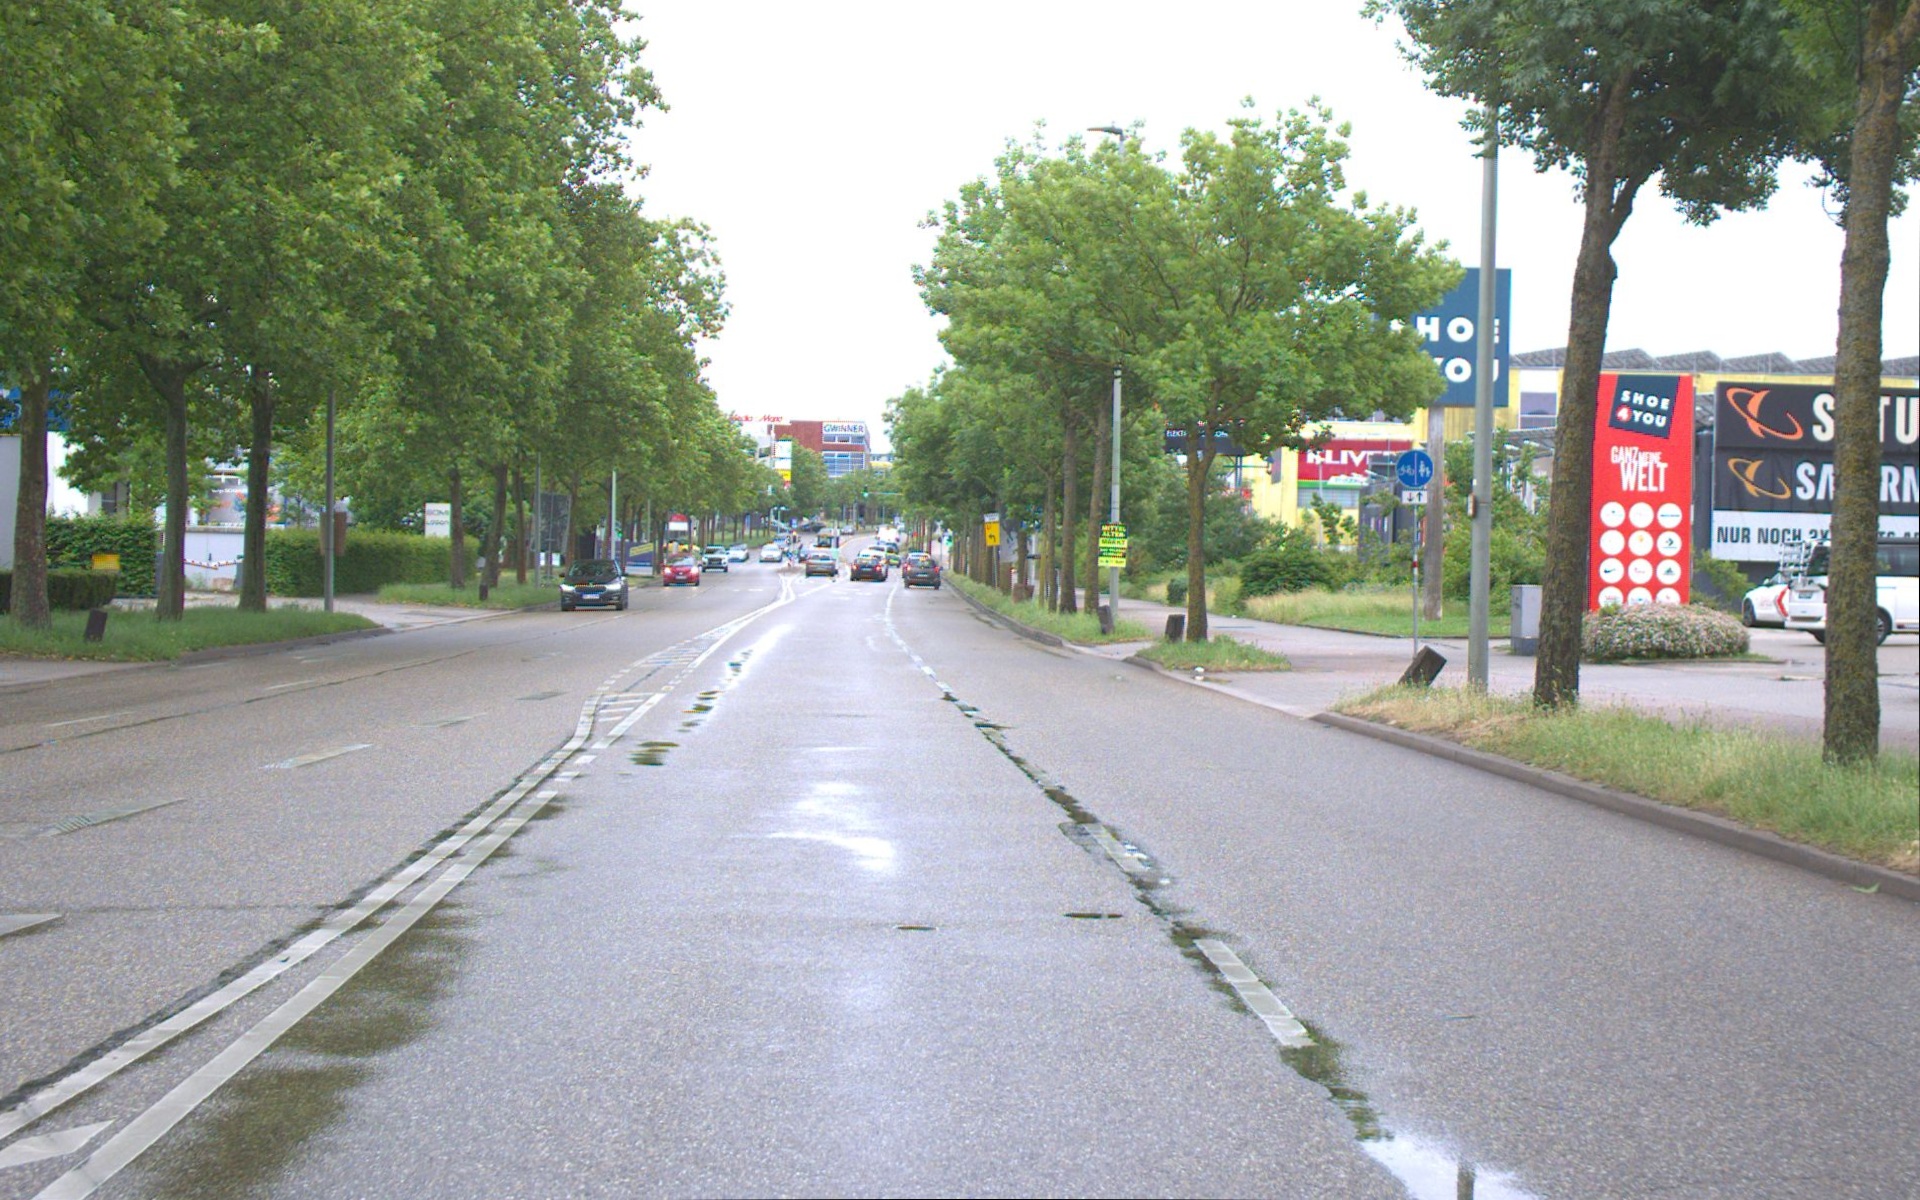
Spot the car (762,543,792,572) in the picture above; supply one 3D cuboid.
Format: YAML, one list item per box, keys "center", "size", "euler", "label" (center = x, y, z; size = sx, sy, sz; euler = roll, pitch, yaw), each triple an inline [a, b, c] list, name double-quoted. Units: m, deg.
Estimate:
- center: [-12.808, -2.973, 241.121]
  size: [1.993, 2.007, 4.000]
  euler: [1, 1, -2]
  label: "car"

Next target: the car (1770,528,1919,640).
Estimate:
- center: [17.601, -0.282, 63.307]
  size: [4.820, 2.007, 1.991]
  euler: [0, 0, -10]
  label: "car"

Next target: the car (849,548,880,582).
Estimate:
- center: [-5.691, -2.106, 205.455]
  size: [1.745, 2.007, 4.000]
  euler: [-1, 1, 0]
  label: "car"

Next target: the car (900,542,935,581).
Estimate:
- center: [-2.208, -2.008, 178.994]
  size: [1.745, 2.007, 4.000]
  euler: [1, 1, 0]
  label: "car"

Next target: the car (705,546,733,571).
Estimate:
- center: [-17.342, -2.985, 247.548]
  size: [1.704, 1.731, 4.000]
  euler: [1, 1, 1]
  label: "car"

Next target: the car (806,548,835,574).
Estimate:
- center: [-9.248, -2.612, 228.177]
  size: [1.745, 1.695, 4.000]
  euler: [1, 1, 0]
  label: "car"

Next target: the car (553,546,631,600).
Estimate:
- center: [-10.297, -0.765, 96.393]
  size: [1.804, 1.458, 3.846]
  euler: [0, 1, -1]
  label: "car"

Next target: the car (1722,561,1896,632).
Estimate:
- center: [19.046, -0.108, 77.345]
  size: [1.880, 1.463, 4.954]
  euler: [1, 1, -11]
  label: "car"

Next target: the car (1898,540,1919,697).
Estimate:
- center: [11.697, 0.131, 34.831]
  size: [3.841, 1.598, 1.795]
  euler: [-2, 1, 0]
  label: "car"

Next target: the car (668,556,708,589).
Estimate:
- center: [-13.088, -1.333, 165.499]
  size: [1.726, 1.512, 3.821]
  euler: [1, 1, -1]
  label: "car"
